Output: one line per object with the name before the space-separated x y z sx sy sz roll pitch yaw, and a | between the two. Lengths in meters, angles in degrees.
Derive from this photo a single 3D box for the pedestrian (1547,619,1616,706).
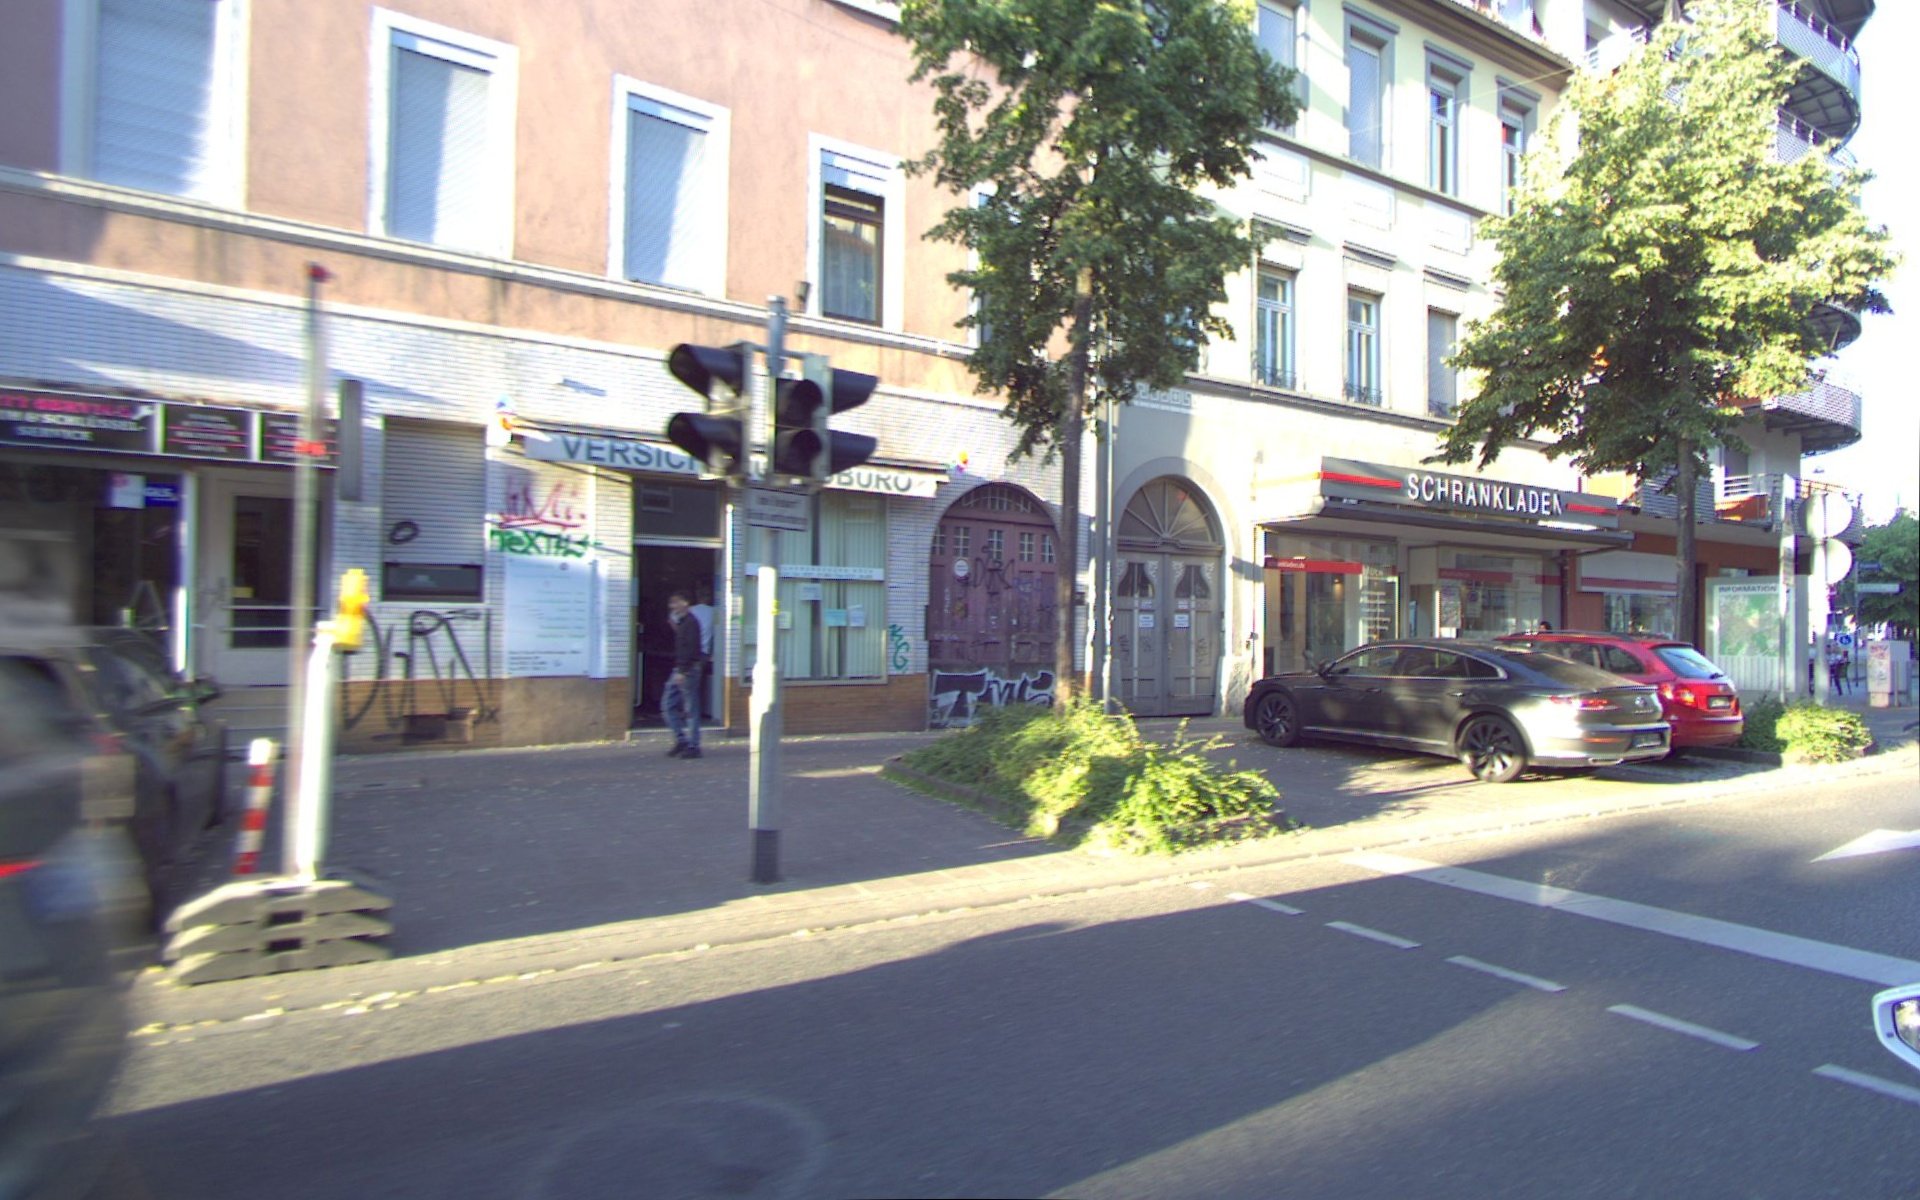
pedestrian | 11.425 1.144 18.464 0.865 1.548 0.731 3 -1 -30

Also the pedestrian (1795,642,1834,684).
pedestrian | 26.807 1.970 31.515 0.742 1.289 0.820 3 -3 -38

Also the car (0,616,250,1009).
car | -5.077 0.833 5.325 1.863 1.422 4.084 1 -1 -32

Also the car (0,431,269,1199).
car | -3.541 0.596 1.099 4.409 1.714 1.852 2 -2 -31

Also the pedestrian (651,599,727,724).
pedestrian | -3.482 0.778 12.974 0.804 1.538 0.874 2 -1 -10

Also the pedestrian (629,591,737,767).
pedestrian | -2.910 0.800 10.525 0.865 1.744 0.768 3 -1 -30

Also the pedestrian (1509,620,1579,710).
pedestrian | 11.033 1.213 18.979 0.865 1.629 0.768 3 -1 -30

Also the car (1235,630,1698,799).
car | 5.526 1.126 11.633 1.801 1.426 4.547 1 0 -31

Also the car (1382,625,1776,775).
car | 7.916 1.161 13.265 1.862 1.557 4.054 1 0 -29

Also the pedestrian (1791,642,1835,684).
pedestrian | 26.279 1.948 30.940 0.761 1.258 0.890 3 -3 -38
